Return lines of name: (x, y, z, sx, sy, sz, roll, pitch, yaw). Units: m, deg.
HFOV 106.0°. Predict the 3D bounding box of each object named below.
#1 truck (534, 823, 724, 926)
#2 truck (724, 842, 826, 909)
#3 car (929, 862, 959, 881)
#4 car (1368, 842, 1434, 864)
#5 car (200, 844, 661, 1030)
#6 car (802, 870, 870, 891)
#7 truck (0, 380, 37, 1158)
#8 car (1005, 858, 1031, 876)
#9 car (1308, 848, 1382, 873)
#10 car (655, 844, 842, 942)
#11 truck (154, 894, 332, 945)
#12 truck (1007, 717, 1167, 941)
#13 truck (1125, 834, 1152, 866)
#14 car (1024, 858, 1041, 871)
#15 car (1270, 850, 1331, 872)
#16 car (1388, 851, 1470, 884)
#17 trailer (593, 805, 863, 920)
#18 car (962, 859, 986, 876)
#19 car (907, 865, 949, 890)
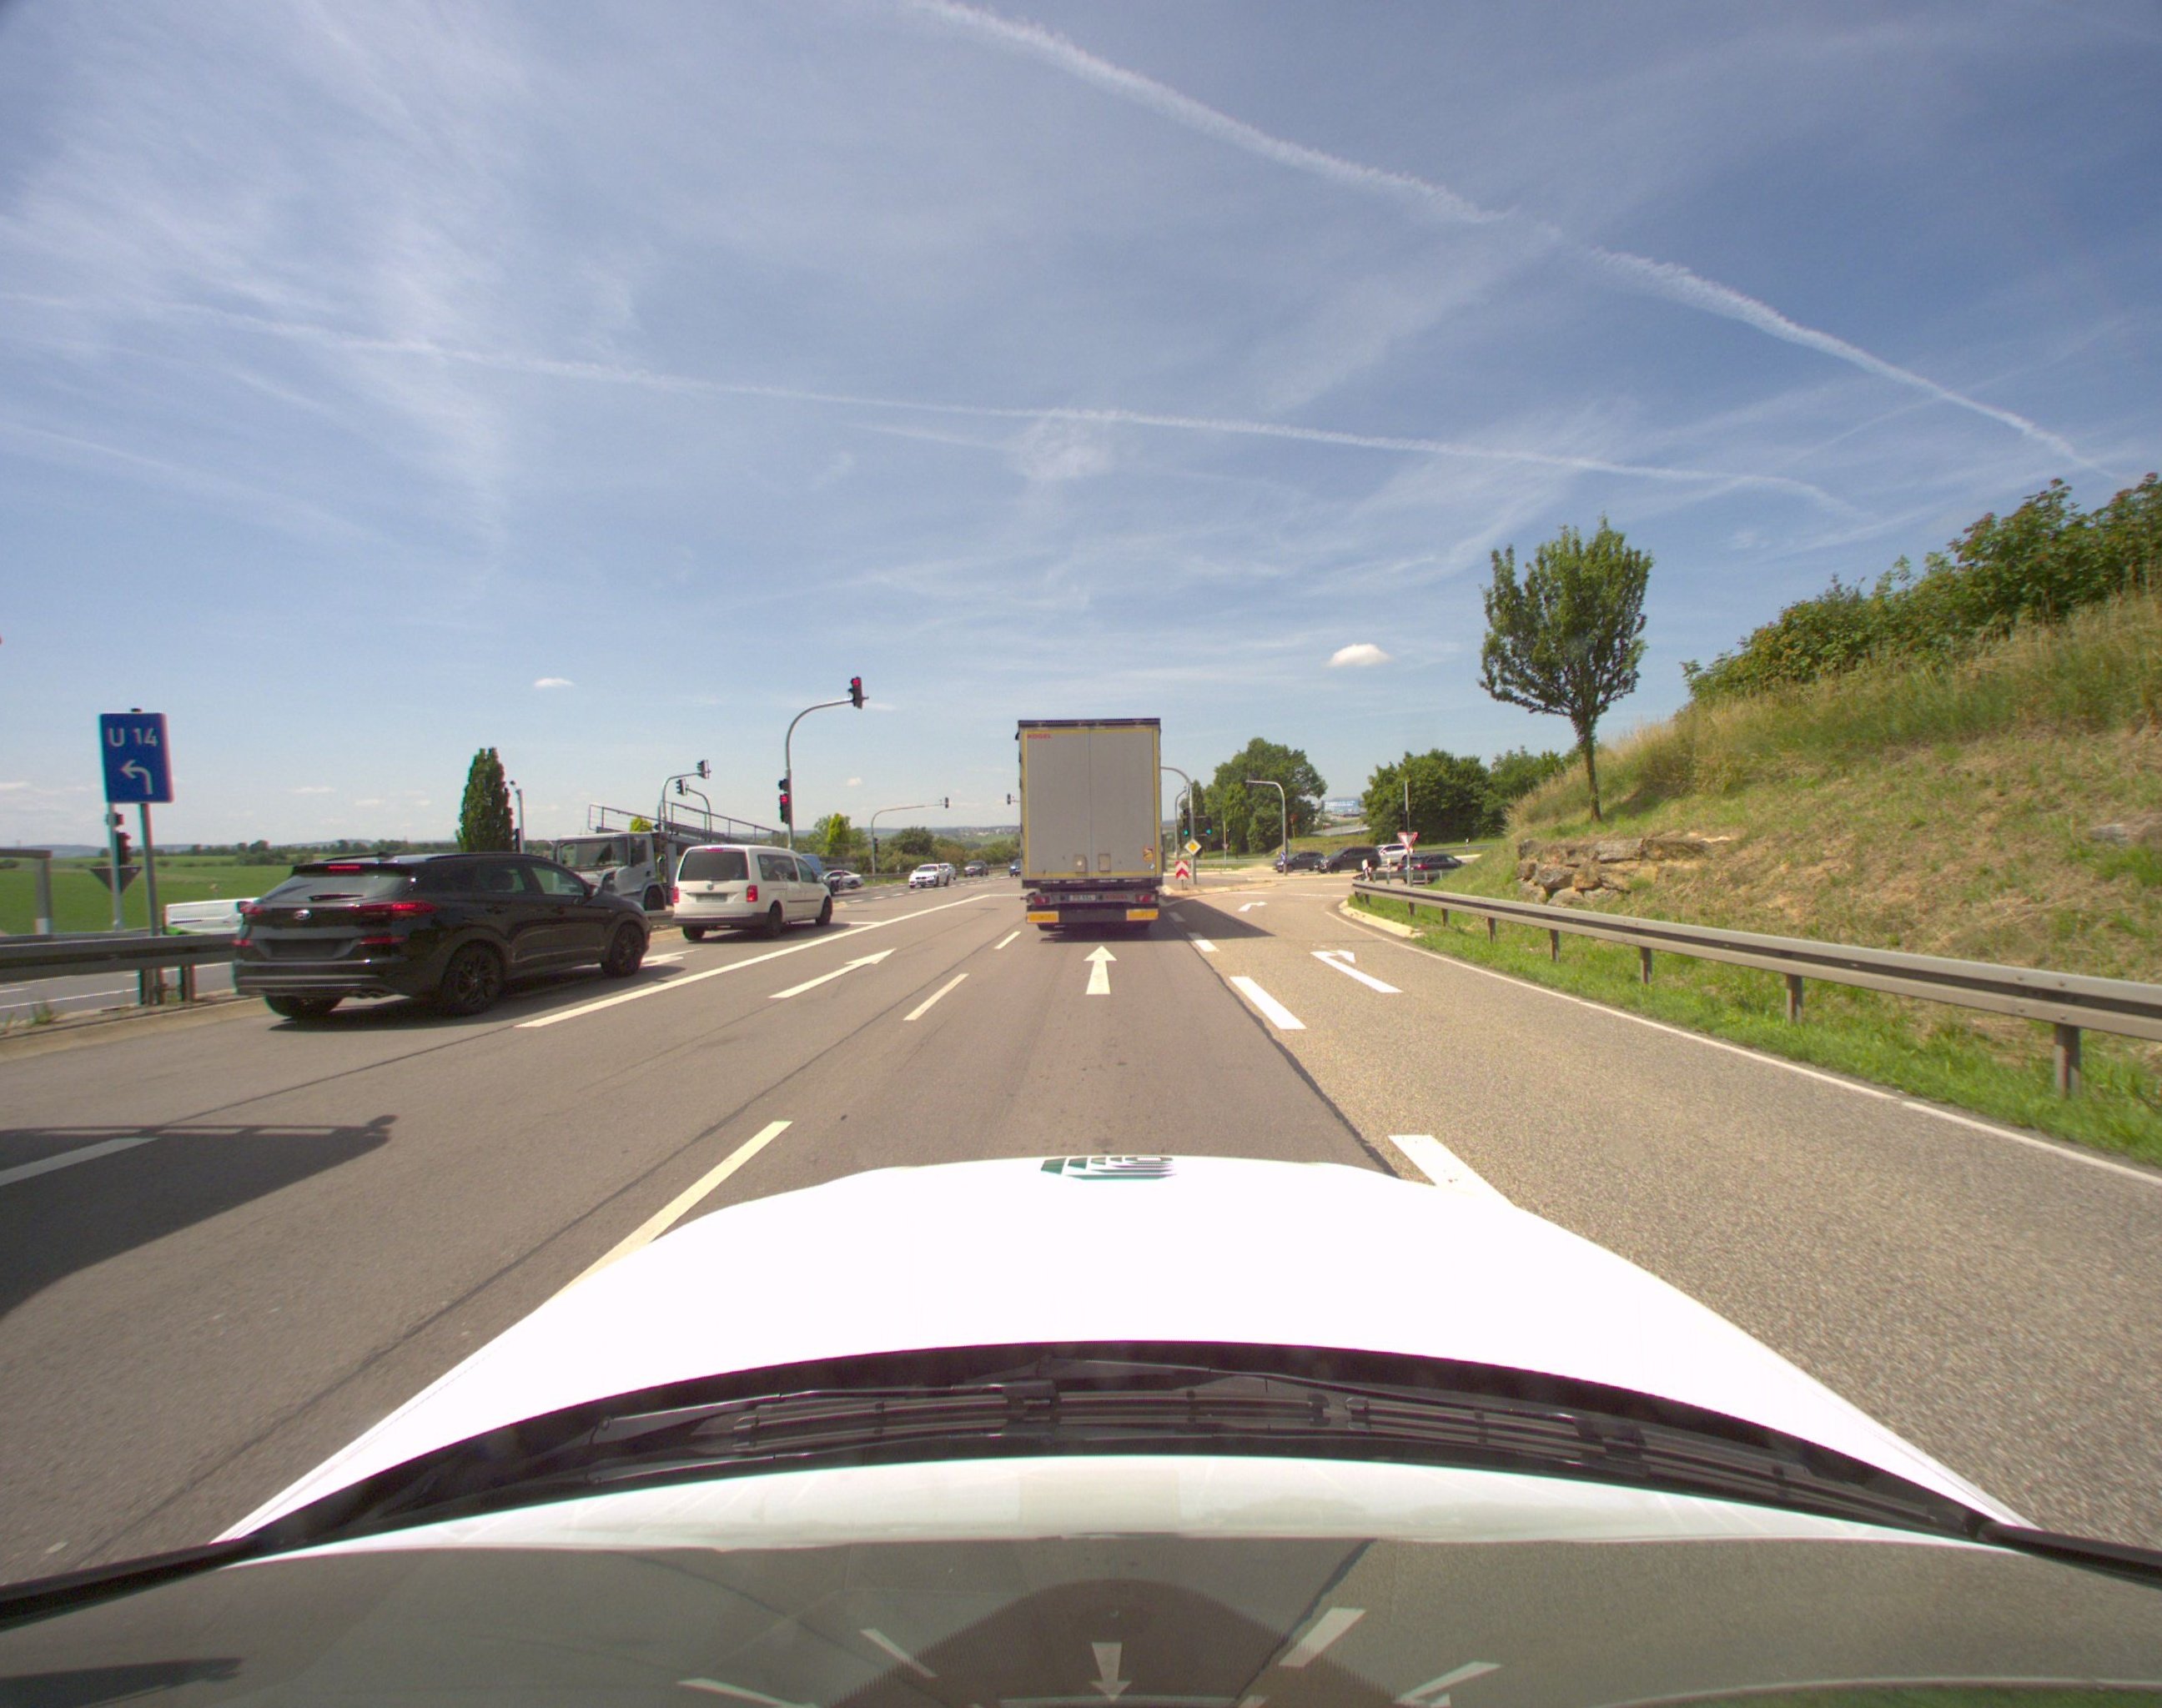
truck: (-14.953, 0.662, 27.540, 2.788, 3.013, 5.993, -2, -1, 3)
truck: (-10.870, 0.751, 29.345, 1.961, 2.157, 4.620, -2, -1, -1)
car: (-11.904, 1.501, 70.841, 1.637, 1.497, 3.805, -3, -1, 4)
car: (24.279, -0.068, 61.794, 4.354, 1.592, 1.775, -1, -1, -7)
car: (-6.982, 0.755, 9.506, 1.850, 1.657, 4.348, -1, 0, 0)
car: (-17.525, 1.870, 58.501, 1.612, 1.460, 4.521, -1, -1, 42)
truck: (-7.018, -0.448, 1.350, 2.773, 4.013, 5.972, -1, 0, 1)
car: (-5.521, 1.133, 71.653, 1.747, 1.469, 4.199, 0, -1, 4)
car: (17.400, 0.454, 53.731, 4.356, 1.510, 1.711, -1, -1, -9)
car: (-6.807, 0.725, 17.311, 1.760, 1.798, 4.756, -1, 0, 3)
truck: (-36.298, 2.800, 35.410, 5.258, 1.757, 1.996, -3, -1, -6)
truck: (0.136, -0.414, 20.050, 2.790, 3.929, 11.340, -1, 0, 0)
truck: (7.188, -0.421, 100.857, 2.641, 3.765, 10.183, -1, -1, 8)
car: (-6.410, 1.389, 107.281, 1.637, 1.496, 4.070, -3, 0, 4)
car: (16.123, 0.519, 59.975, 3.983, 1.510, 1.712, -1, -1, -7)
car: (17.406, 0.651, 40.663, 4.315, 1.532, 1.733, 0, -1, -34)
trailer: (-14.475, 0.415, 37.151, 2.628, 3.763, 19.813, -2, -1, 3)
car: (-11.085, 1.393, 84.512, 1.638, 1.623, 4.330, -3, -1, 2)
car: (-9.657, 1.444, 51.649, 1.765, 1.434, 4.002, -2, -1, 2)
